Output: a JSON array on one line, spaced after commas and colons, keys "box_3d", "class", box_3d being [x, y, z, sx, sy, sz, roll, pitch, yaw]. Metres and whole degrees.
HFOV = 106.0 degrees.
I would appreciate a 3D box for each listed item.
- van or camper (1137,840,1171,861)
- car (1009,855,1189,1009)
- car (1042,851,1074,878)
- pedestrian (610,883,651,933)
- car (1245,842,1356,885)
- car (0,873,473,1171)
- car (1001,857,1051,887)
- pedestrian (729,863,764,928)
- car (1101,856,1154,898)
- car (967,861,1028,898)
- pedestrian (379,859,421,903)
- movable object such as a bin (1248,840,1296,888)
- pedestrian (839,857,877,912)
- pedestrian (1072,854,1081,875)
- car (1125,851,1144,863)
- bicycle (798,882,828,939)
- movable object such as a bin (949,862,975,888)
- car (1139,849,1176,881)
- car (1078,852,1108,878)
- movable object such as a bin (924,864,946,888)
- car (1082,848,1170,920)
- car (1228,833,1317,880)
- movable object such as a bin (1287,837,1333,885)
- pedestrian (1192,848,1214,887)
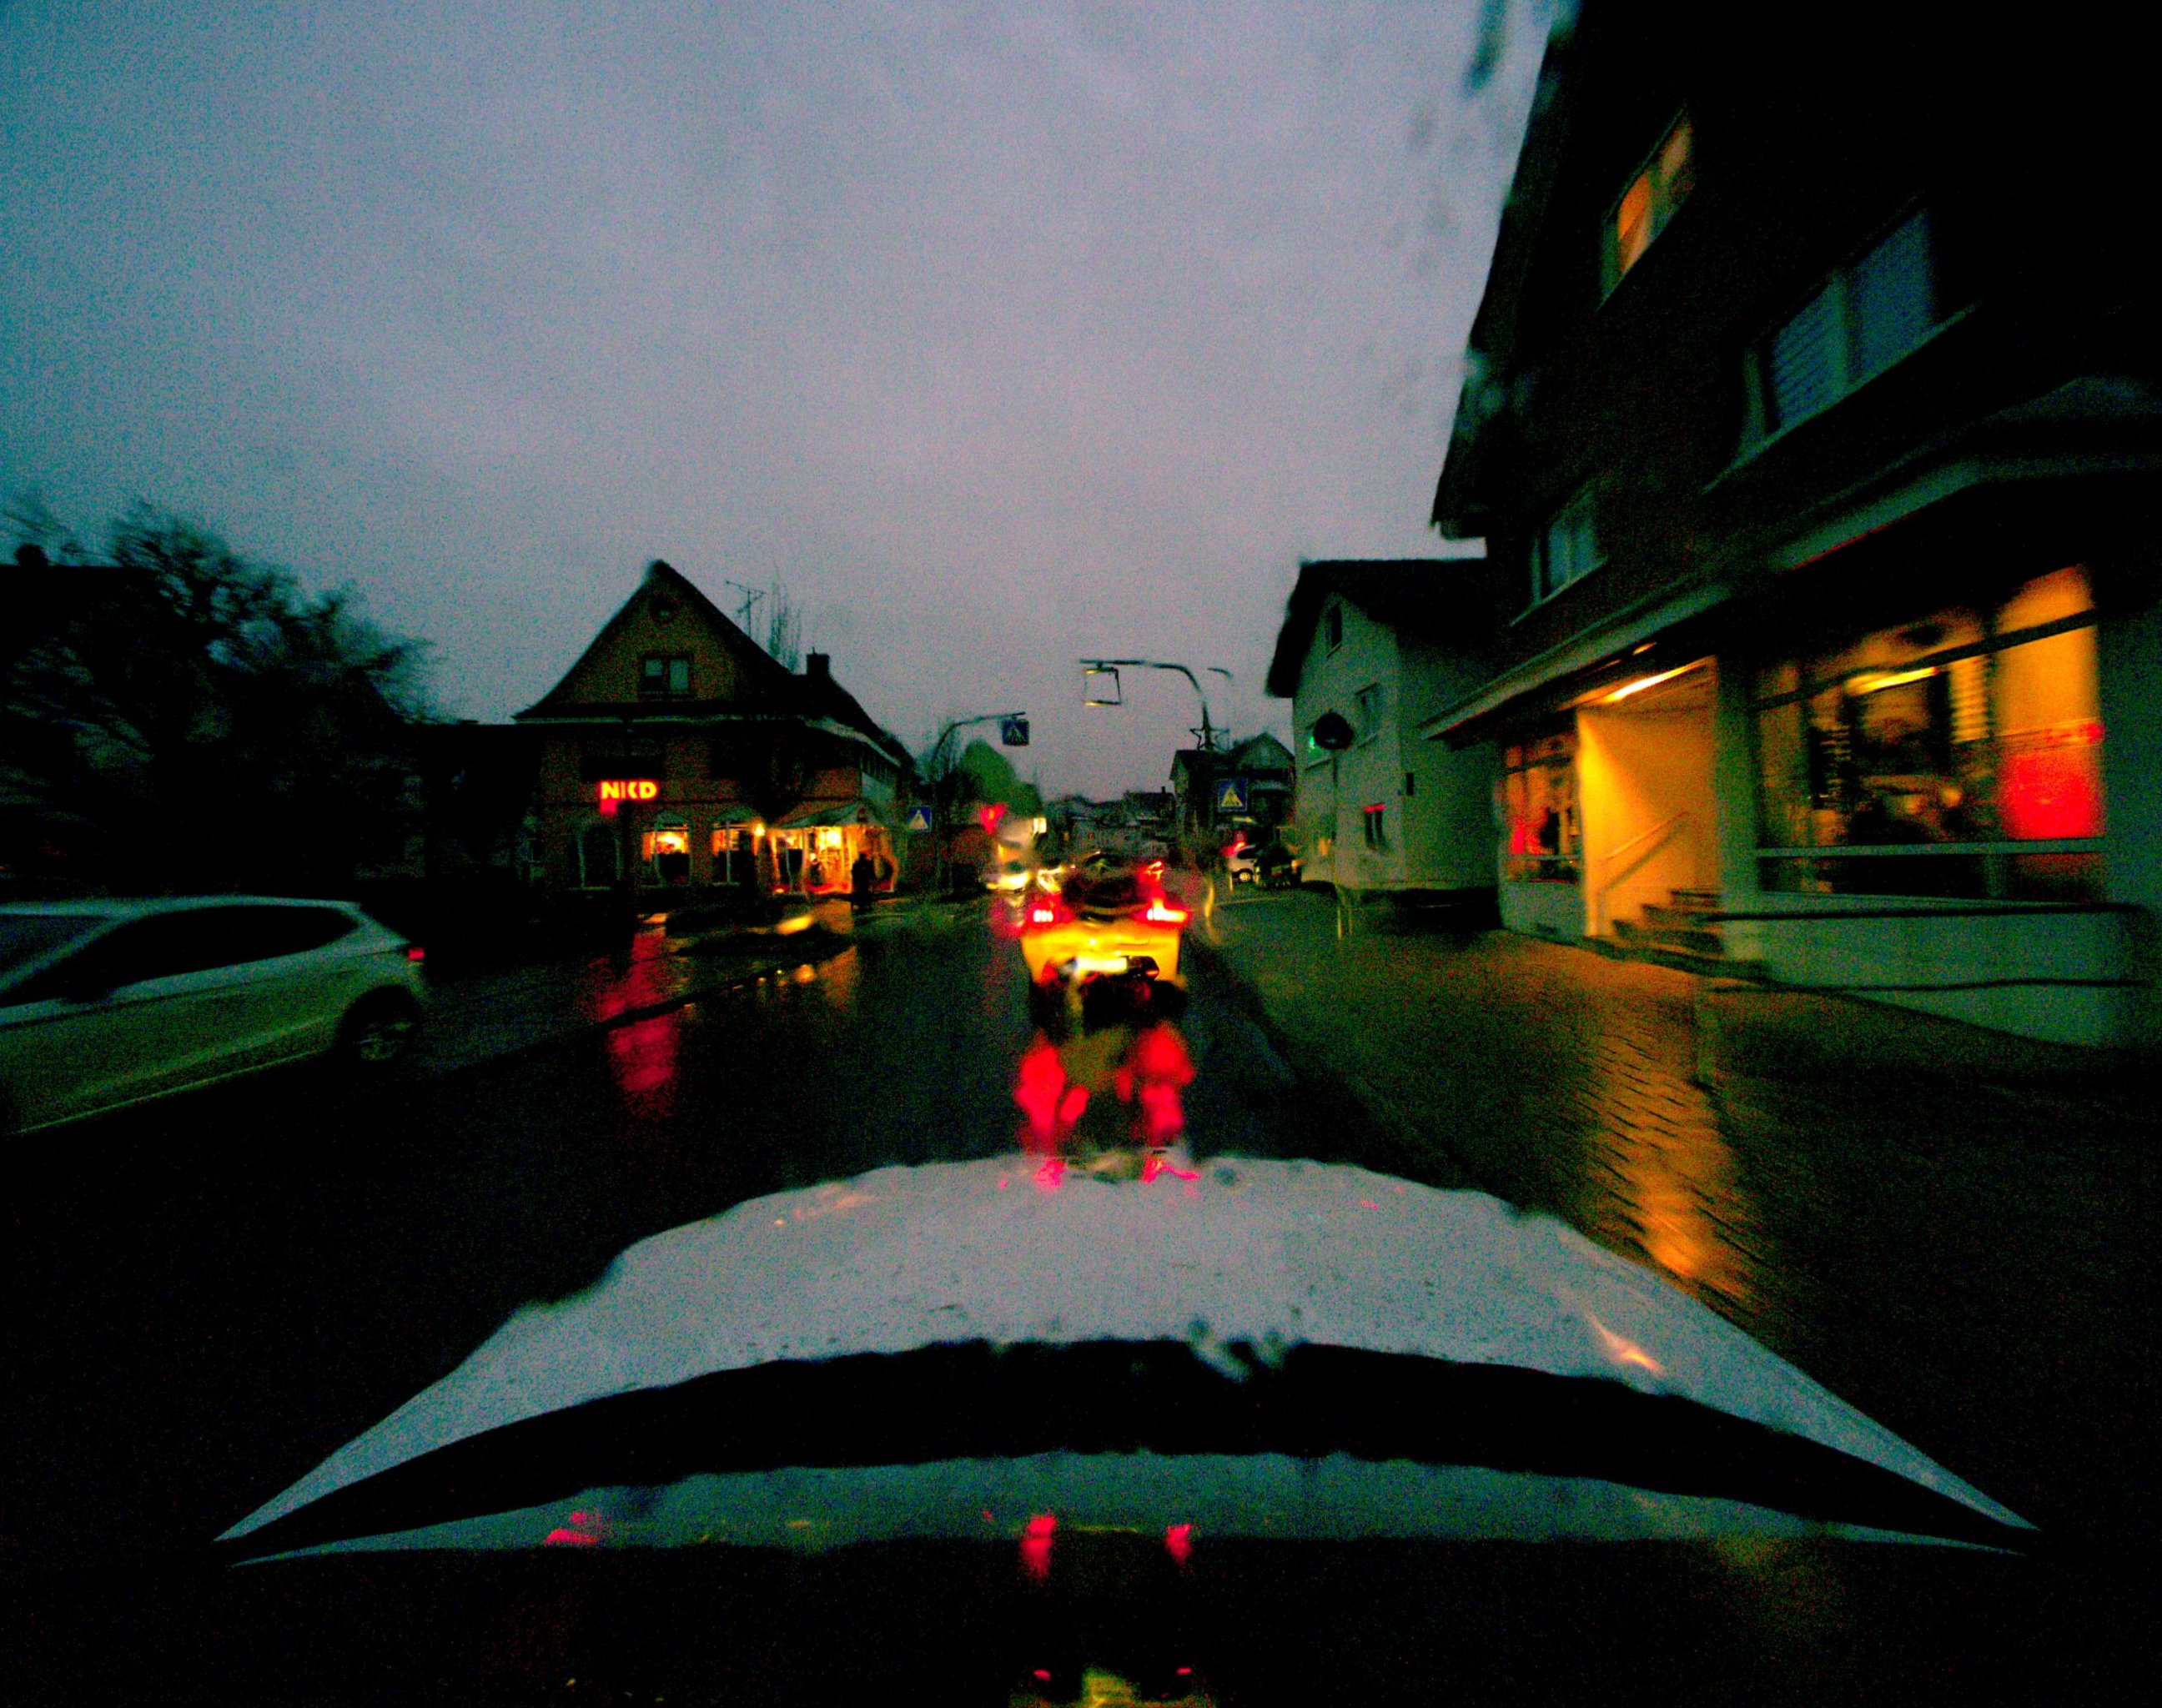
[{"box_3d": [11.612, -0.549, 130.143, 2.659, 3.047, 6.692, -5, 1, -18], "class": "van or camper"}, {"box_3d": [0.243, 0.801, 10.203, 1.807, 1.533, 4.001, -1, 0, 2], "class": "car"}, {"box_3d": [-1.593, 0.721, 57.917, 2.079, 1.792, 5.023, -1, 0, 0], "class": "car"}, {"box_3d": [-11.972, 1.424, 21.652, 0.815, 1.245, 0.691, -1, -1, 39], "class": "pedestrian"}, {"box_3d": [8.608, 0.399, 32.191, 3.966, 1.486, 1.916, -2, -1, 7], "class": "car"}, {"box_3d": [-6.424, 0.905, 5.230, 1.777, 1.489, 4.184, -1, -1, 2], "class": "car"}, {"box_3d": [-2.967, 0.956, 44.776, 1.984, 1.522, 4.984, -1, 0, 4], "class": "car"}, {"box_3d": [-10.662, 1.307, 25.957, 0.815, 2.014, 0.741, -1, -1, 41], "class": "pedestrian"}, {"box_3d": [1.852, 0.905, 33.510, 1.986, 1.588, 4.001, -1, 0, 1], "class": "car"}, {"box_3d": [-3.755, 1.137, 37.439, 1.984, 1.558, 4.627, -1, 0, 5], "class": "car"}, {"box_3d": [-28.448, 1.120, 34.032, 0.916, 1.715, 0.838, 5, -1, -9], "class": "pedestrian"}, {"box_3d": [6.974, 0.368, 29.776, 1.388, 1.644, 1.262, -4, 0, 1], "class": "movable object such as a bin"}, {"box_3d": [-6.786, 0.911, 24.817, 0.823, 1.658, 1.098, 0, -1, 3], "class": "pedestrian"}, {"box_3d": [-0.350, 0.791, 61.531, 0.572, 1.585, 0.530, -2, 1, 4], "class": "pedestrian"}, {"box_3d": [8.492, 0.496, 129.543, 1.994, 1.610, 4.159, -3, -1, -10], "class": "car"}, {"box_3d": [-5.812, 1.202, 17.714, 0.324, 1.061, 1.737, -6, 2, -12], "class": "bicycle"}, {"box_3d": [-6.876, 1.212, 46.945, 1.338, 1.354, 0.887, -4, -1, -6], "class": "movable object such as a bin"}, {"box_3d": [4.631, 0.678, 49.776, 1.986, 1.857, 4.002, -1, 0, 2], "class": "car"}, {"box_3d": [0.917, 0.749, 59.551, 1.986, 1.705, 4.970, 1, 1, 2], "class": "car"}, {"box_3d": [-8.412, 1.251, 46.834, 1.148, 1.354, 0.850, -1, 0, -6], "class": "movable object such as a bin"}, {"box_3d": [1.066, 0.706, 20.645, 1.985, 1.625, 4.001, -1, 0, 1], "class": "car"}, {"box_3d": [9.433, 0.131, 40.227, 4.063, 2.049, 2.007, -4, -1, 12], "class": "car"}, {"box_3d": [8.324, 0.256, 29.665, 1.281, 1.644, 1.185, -4, 0, 1], "class": "movable object such as a bin"}, {"box_3d": [6.016, 0.681, 40.267, 0.963, 1.889, 1.006, 0, -1, 1], "class": "pedestrian"}]
